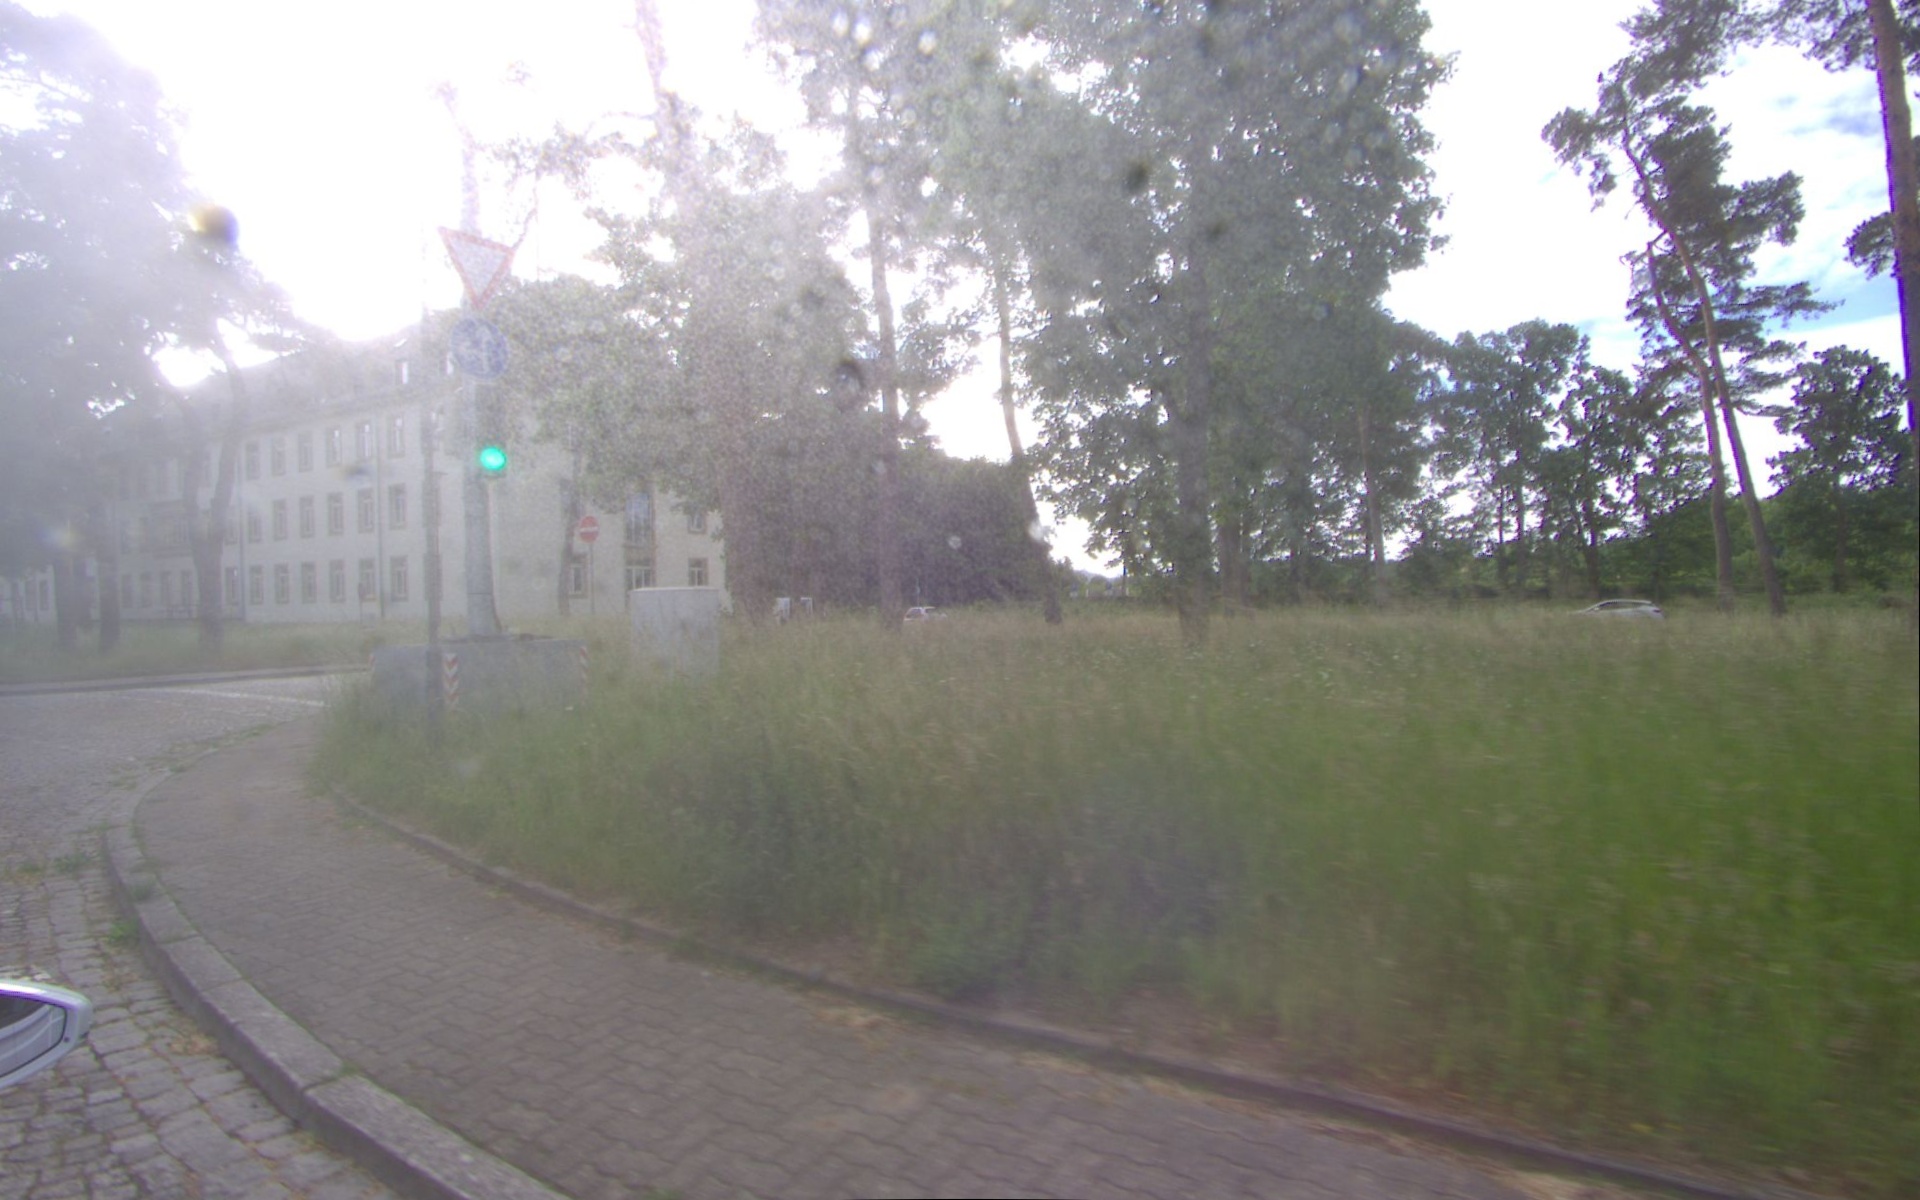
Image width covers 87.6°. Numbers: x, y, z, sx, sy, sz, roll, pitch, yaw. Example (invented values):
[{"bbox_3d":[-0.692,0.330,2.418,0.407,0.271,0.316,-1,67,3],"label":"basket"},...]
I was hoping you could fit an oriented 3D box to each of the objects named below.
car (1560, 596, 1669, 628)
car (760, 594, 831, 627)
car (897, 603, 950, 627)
[{"bbox_3d":[31.287,0.584,47.996,4.191,1.435,1.880,-1,0,28],"label":"car"},{"bbox_3d":[-11.847,0.755,72.293,2.182,2.318,5.169,-1,0,32],"label":"car"},{"bbox_3d":[-2.408,1.000,67.355,1.972,1.527,3.474,-1,0,32],"label":"car"}]
